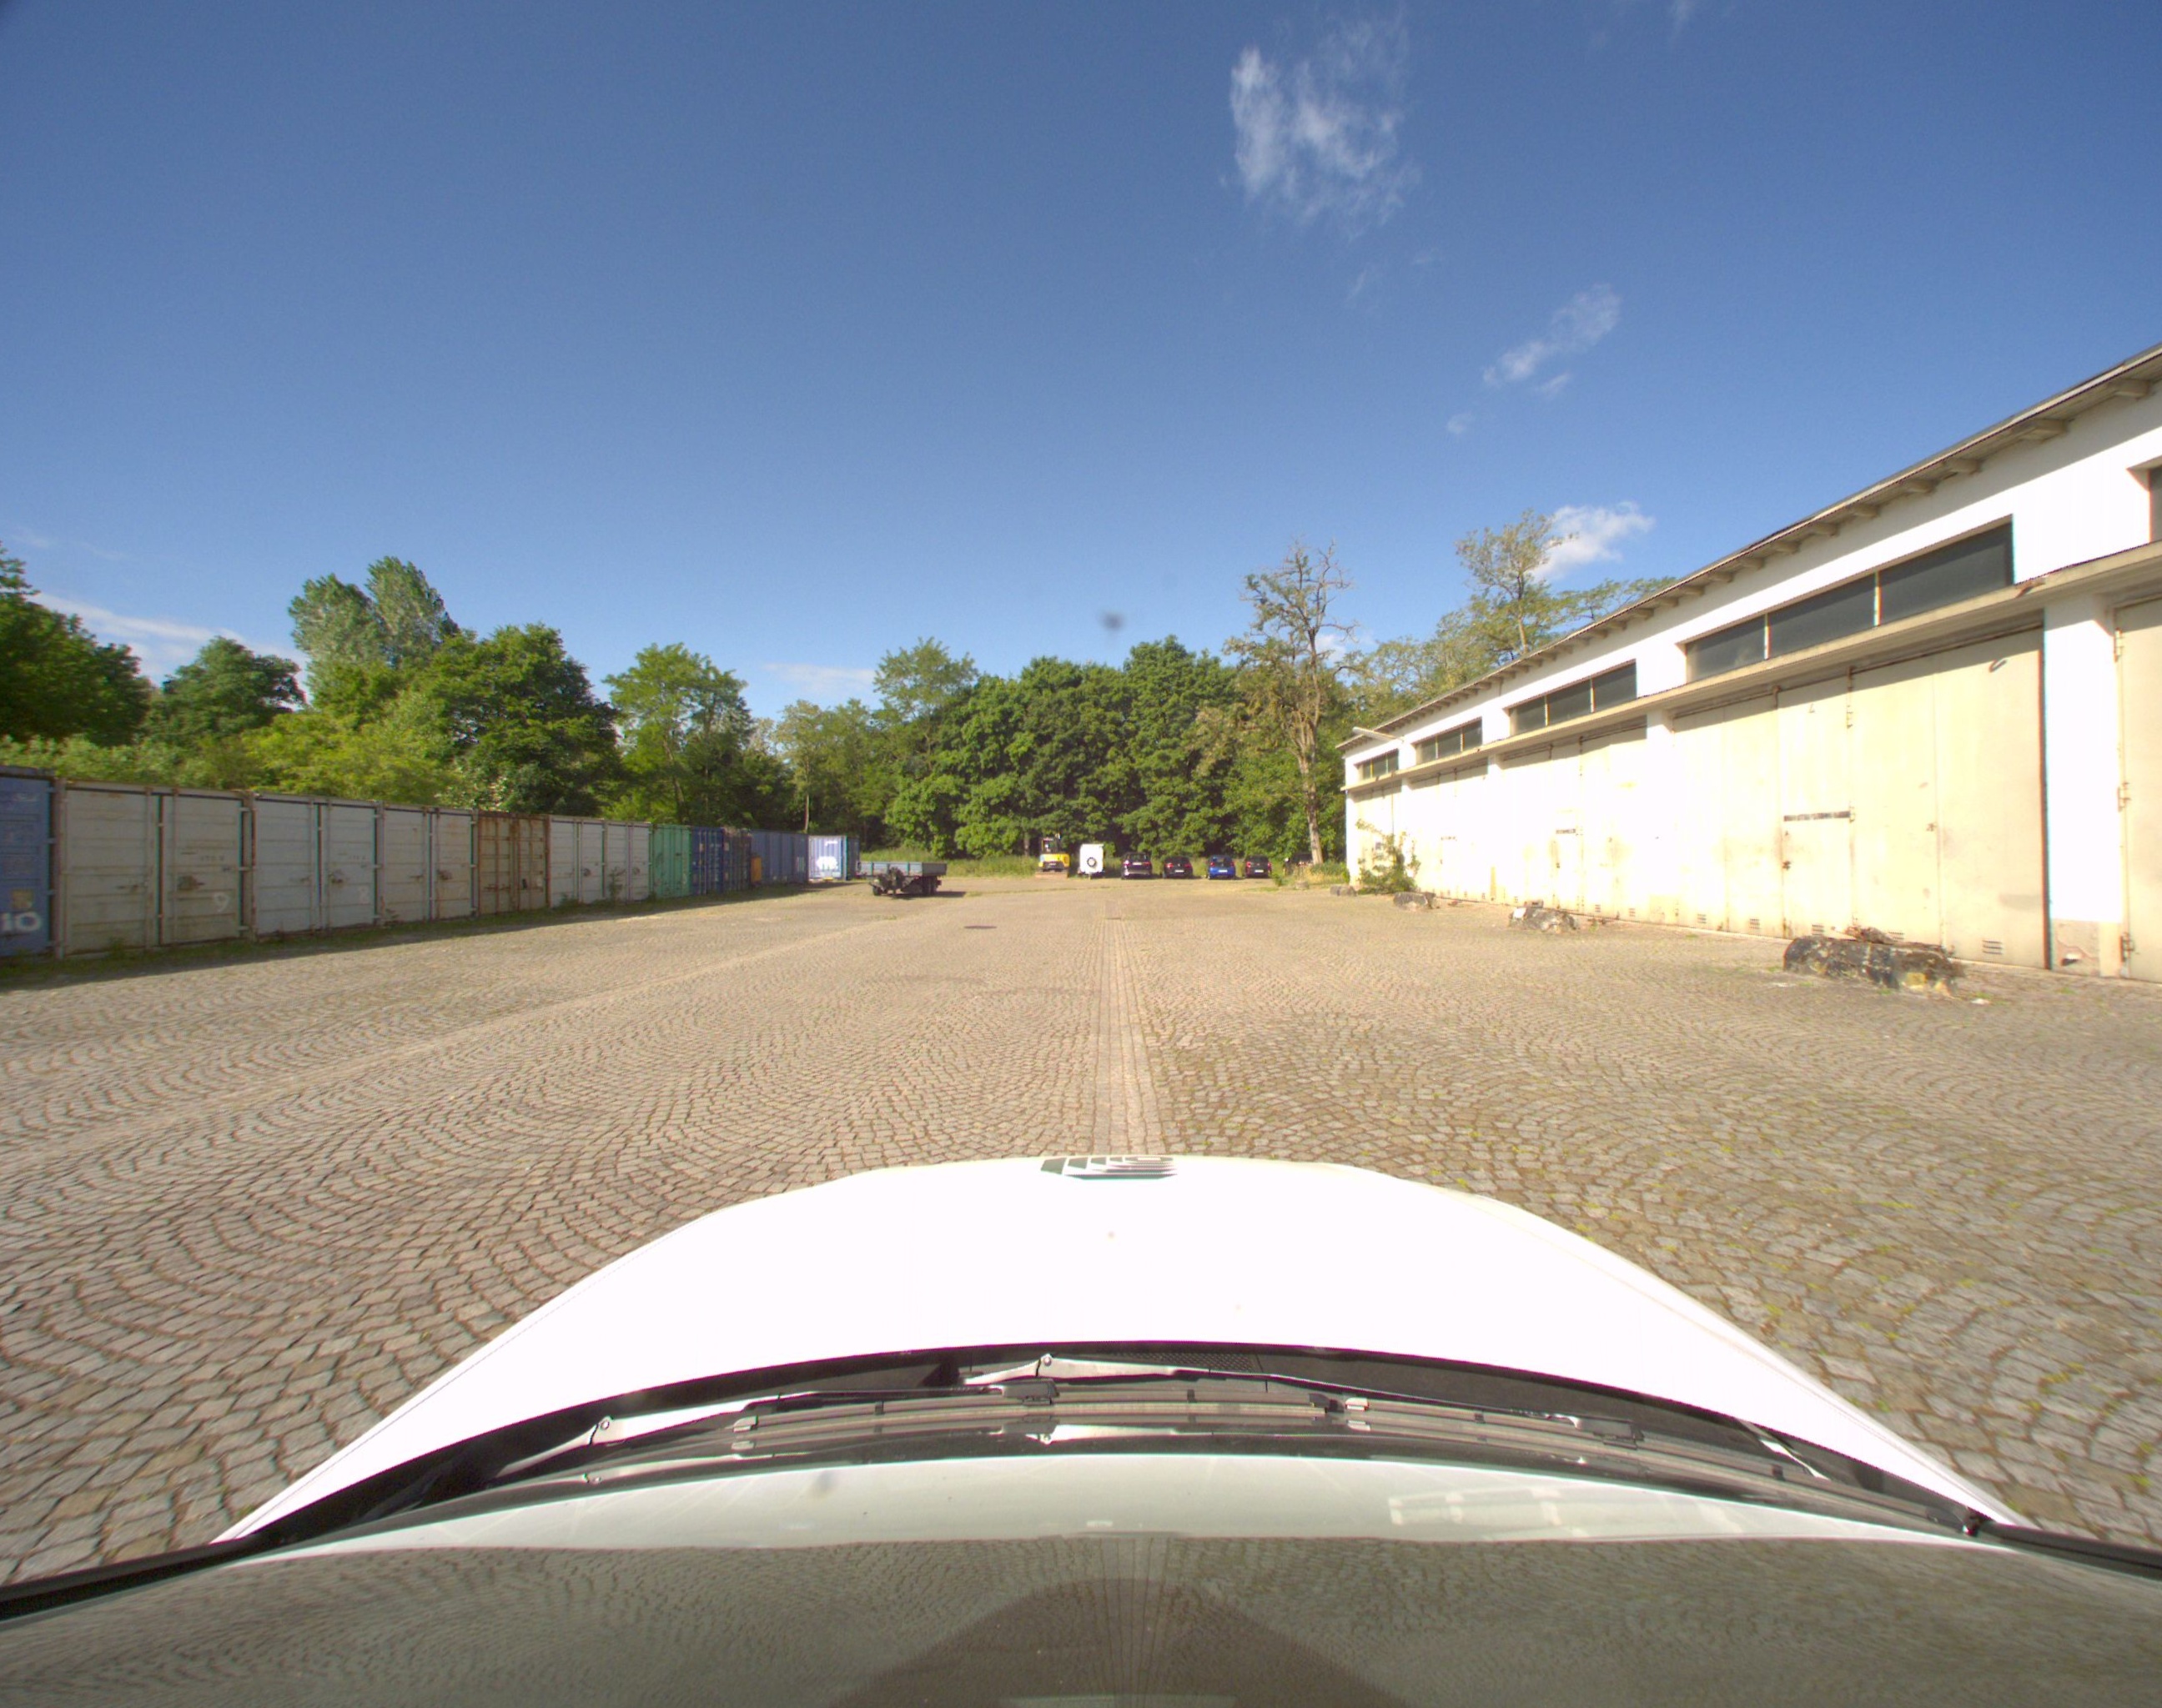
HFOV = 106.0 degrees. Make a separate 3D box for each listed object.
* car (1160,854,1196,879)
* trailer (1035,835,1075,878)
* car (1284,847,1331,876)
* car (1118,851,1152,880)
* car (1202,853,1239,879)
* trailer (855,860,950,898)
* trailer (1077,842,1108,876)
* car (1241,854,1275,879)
[{"bbox_3d":[5.895,0.756,50.014,1.882,1.411,3.792,0,1,2],"label":"car"},{"bbox_3d":[-1.592,0.129,51.356,2.249,2.538,2.854,0,3,3],"label":"trailer"},{"bbox_3d":[13.984,0.424,50.547,1.867,1.630,4.276,0,2,2],"label":"car"},{"bbox_3d":[3.265,0.664,49.719,1.957,1.589,4.133,0,1,2],"label":"car"},{"bbox_3d":[8.475,0.710,49.768,1.772,1.458,3.793,0,1,3],"label":"car"},{"bbox_3d":[-7.093,0.958,32.994,2.630,1.414,4.864,0,-1,2],"label":"trailer"},{"bbox_3d":[0.739,0.303,50.935,1.810,2.050,2.853,0,1,3],"label":"trailer"},{"bbox_3d":[11.050,0.764,51.020,1.729,1.451,3.733,0,1,7],"label":"car"}]
